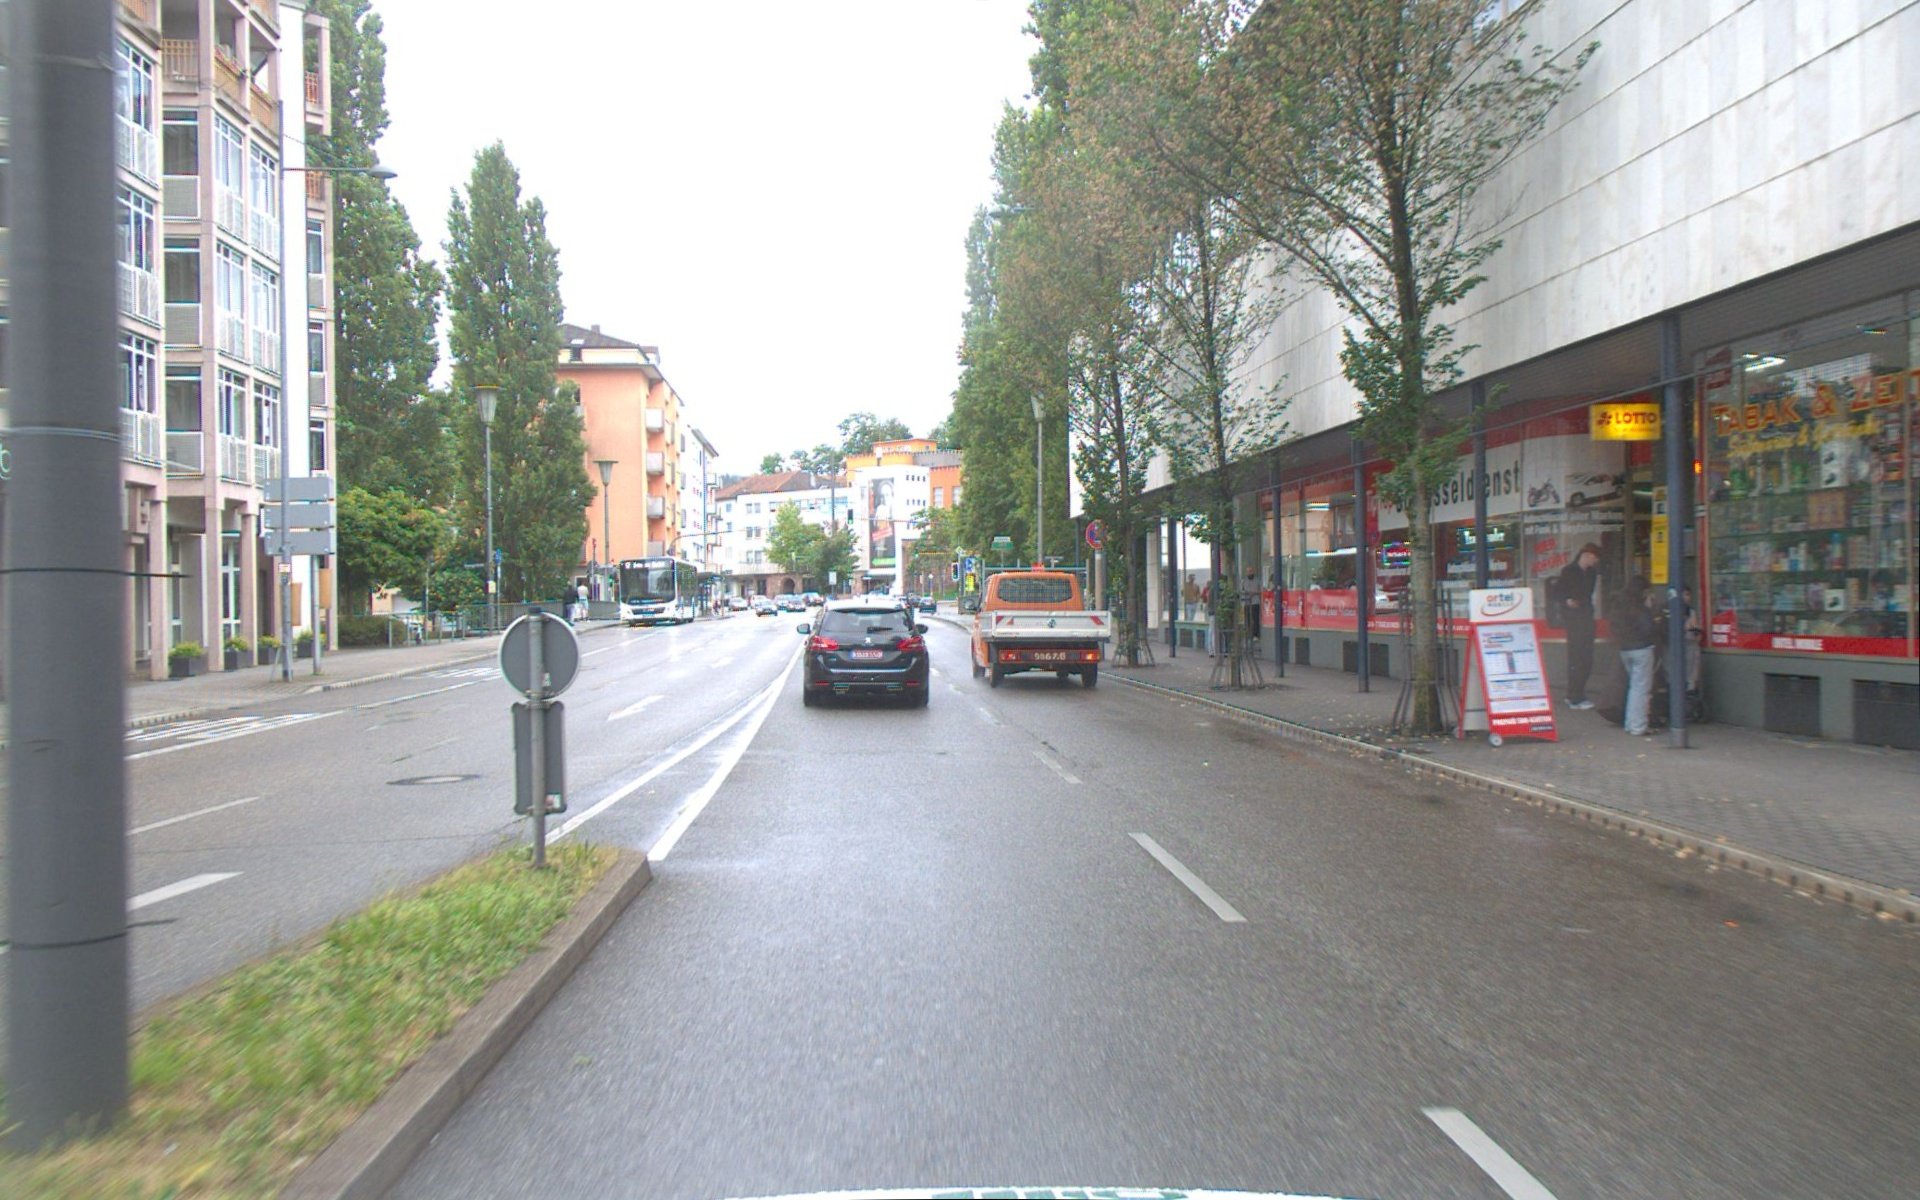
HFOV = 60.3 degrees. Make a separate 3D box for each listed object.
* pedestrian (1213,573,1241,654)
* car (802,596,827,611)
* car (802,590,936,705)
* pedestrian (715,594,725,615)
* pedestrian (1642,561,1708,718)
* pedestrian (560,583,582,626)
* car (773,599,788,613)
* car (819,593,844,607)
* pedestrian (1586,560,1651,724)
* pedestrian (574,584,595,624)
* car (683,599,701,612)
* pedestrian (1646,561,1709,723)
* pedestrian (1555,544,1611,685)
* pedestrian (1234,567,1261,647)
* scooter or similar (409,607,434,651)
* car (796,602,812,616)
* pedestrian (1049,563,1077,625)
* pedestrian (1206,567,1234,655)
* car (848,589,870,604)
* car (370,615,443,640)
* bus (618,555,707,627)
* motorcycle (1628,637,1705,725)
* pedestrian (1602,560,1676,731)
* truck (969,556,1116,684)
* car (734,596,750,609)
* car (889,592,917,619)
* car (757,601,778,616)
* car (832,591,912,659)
[{"bbox_3d":[5.826,0.294,36.138,0.525,1.749,0.535,-1,0,4],"label":"pedestrian"},{"bbox_3d":[-17.157,0.455,195.085,1.626,1.592,3.565,3,-3,-28],"label":"car"},{"bbox_3d":[-1.246,0.667,24.004,1.758,1.509,3.999,1,-1,-1],"label":"car"},{"bbox_3d":[-23.706,0.452,163.148,0.721,2.049,0.649,4,-3,-37],"label":"pedestrian"},{"bbox_3d":[7.420,0.406,17.175,0.420,1.594,0.509,-2,0,0],"label":"pedestrian"},{"bbox_3d":[-16.423,0.189,69.838,0.684,1.825,0.958,0,-1,-1],"label":"pedestrian"},{"bbox_3d":[-20.151,0.666,185.755,1.632,1.424,3.873,-2,0,-5],"label":"car"},{"bbox_3d":[-15.406,0.025,198.681,1.626,1.592,3.565,3,-3,-28],"label":"car"},{"bbox_3d":[6.535,0.408,16.409,0.423,1.594,0.506,-1,0,42],"label":"pedestrian"},{"bbox_3d":[-17.458,0.188,76.953,0.781,1.825,0.812,0,-1,-2],"label":"pedestrian"},{"bbox_3d":[-30.121,0.629,186.078,1.632,1.424,3.873,-2,0,-5],"label":"car"},{"bbox_3d":[7.192,0.417,16.591,0.379,1.594,0.430,-2,0,-6],"label":"pedestrian"},{"bbox_3d":[7.199,0.161,19.122,0.423,1.594,0.506,-1,0,42],"label":"pedestrian"},{"bbox_3d":[6.337,0.156,36.512,0.525,1.749,0.535,-1,0,6],"label":"pedestrian"},{"bbox_3d":[-17.345,0.926,53.314,0.472,1.336,1.569,-1,2,-8],"label":"scooter or similar"},{"bbox_3d":[-16.080,0.915,170.650,1.632,1.424,3.873,-2,0,-5],"label":"car"},{"bbox_3d":[3.110,-0.182,50.057,0.684,1.833,0.606,-2,0,-5],"label":"pedestrian"},{"bbox_3d":[5.579,0.236,35.539,0.525,1.852,0.535,-1,0,4],"label":"pedestrian"},{"bbox_3d":[-11.472,-0.376,187.649,1.959,1.713,3.987,-1,0,-12],"label":"car"},{"bbox_3d":[-34.710,1.698,103.772,3.908,1.412,1.898,-2,0,-4],"label":"car"},{"bbox_3d":[-13.910,-0.543,78.213,2.690,3.129,12.229,-1,1,-4],"label":"bus"},{"bbox_3d":[7.110,0.802,16.672,0.318,0.818,0.919,-2,1,-4],"label":"motorcycle"},{"bbox_3d":[6.459,0.422,15.745,0.421,1.594,0.509,-2,0,-6],"label":"pedestrian"},{"bbox_3d":[1.357,0.362,29.124,2.080,2.061,4.712,0,-1,-3],"label":"truck"},{"bbox_3d":[-25.422,0.267,192.729,1.632,1.424,3.873,-2,0,-5],"label":"car"},{"bbox_3d":[-3.695,0.380,107.068,1.612,1.592,3.596,2,-3,-4],"label":"car"},{"bbox_3d":[-18.055,0.817,155.448,1.756,1.348,4.402,-1,0,-5],"label":"car"},{"bbox_3d":[-2.042,0.571,39.180,1.759,1.509,3.998,-1,0,-2],"label":"car"}]
